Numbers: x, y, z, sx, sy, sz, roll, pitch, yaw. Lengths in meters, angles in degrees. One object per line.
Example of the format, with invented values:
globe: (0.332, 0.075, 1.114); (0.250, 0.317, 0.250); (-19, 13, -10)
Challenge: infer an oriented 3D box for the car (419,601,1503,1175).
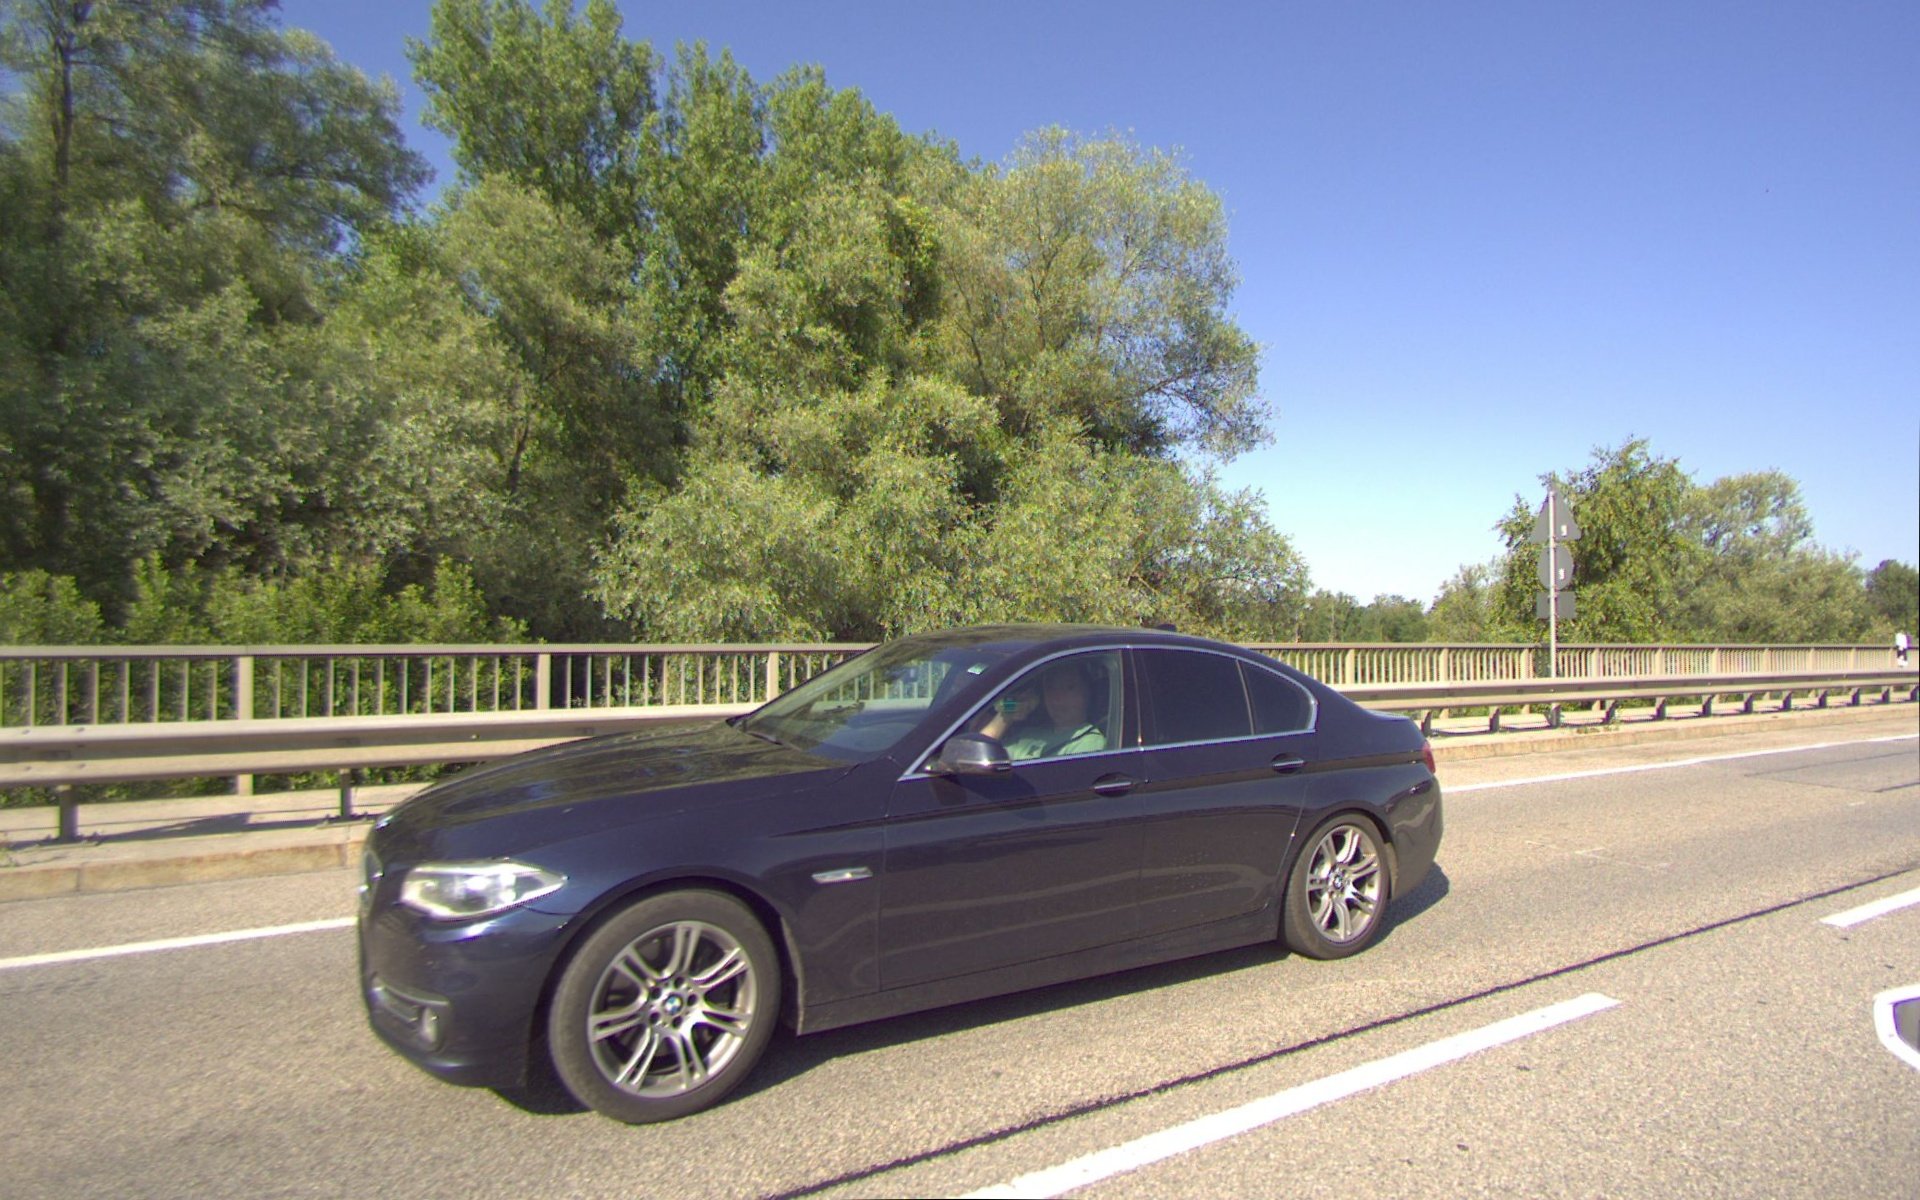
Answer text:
car: (0.231, 0.787, 4.487); (4.597, 1.439, 1.778); (1, -2, -31)
